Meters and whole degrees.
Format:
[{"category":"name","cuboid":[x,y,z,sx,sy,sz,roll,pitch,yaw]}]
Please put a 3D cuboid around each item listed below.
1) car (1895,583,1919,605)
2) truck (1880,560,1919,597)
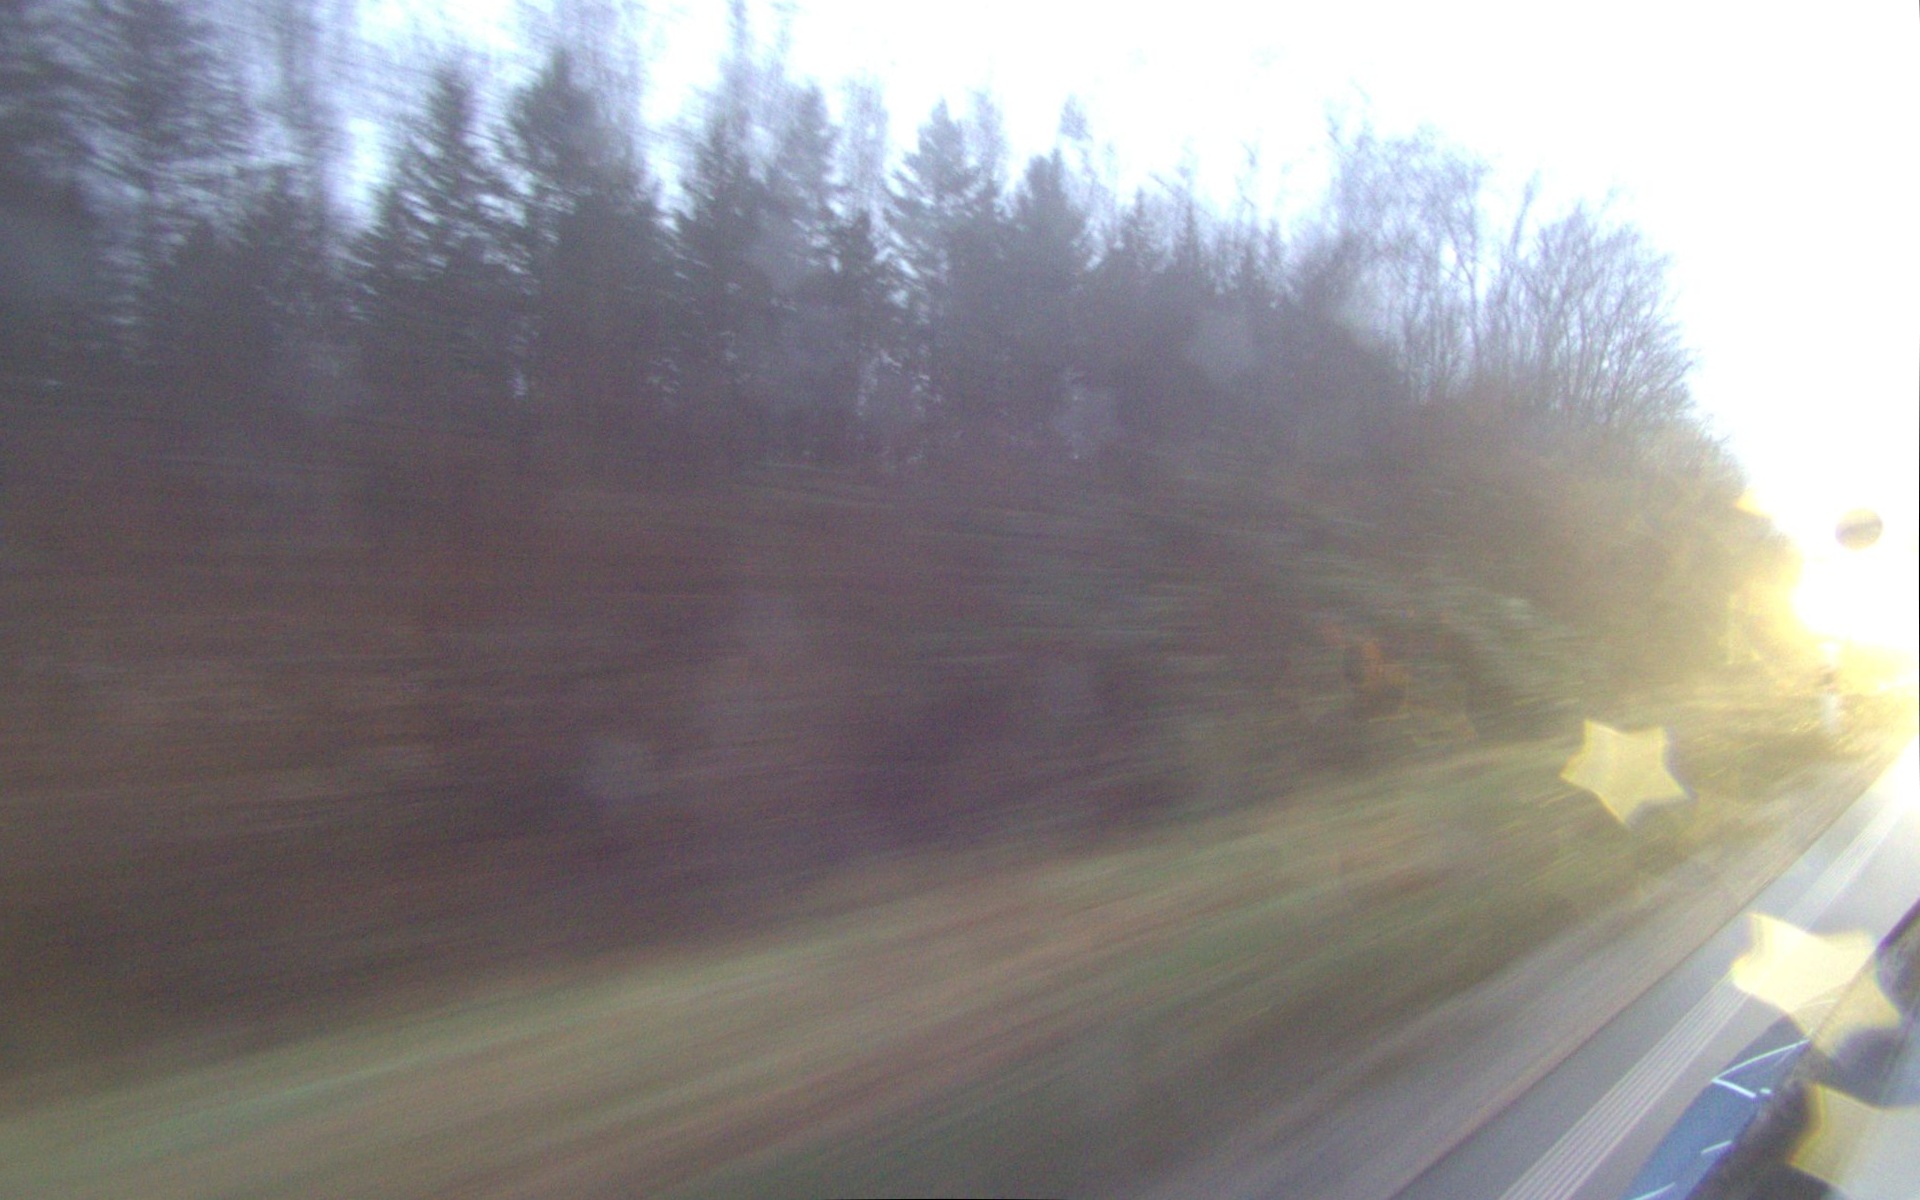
[{"category":"car","cuboid":[76.272,-0.514,81.211,1.696,1.753,3.939,-1,0,42]},{"category":"truck","cuboid":[118.795,-2.706,127.785,3.342,4.483,11.007,-1,0,40]}]
